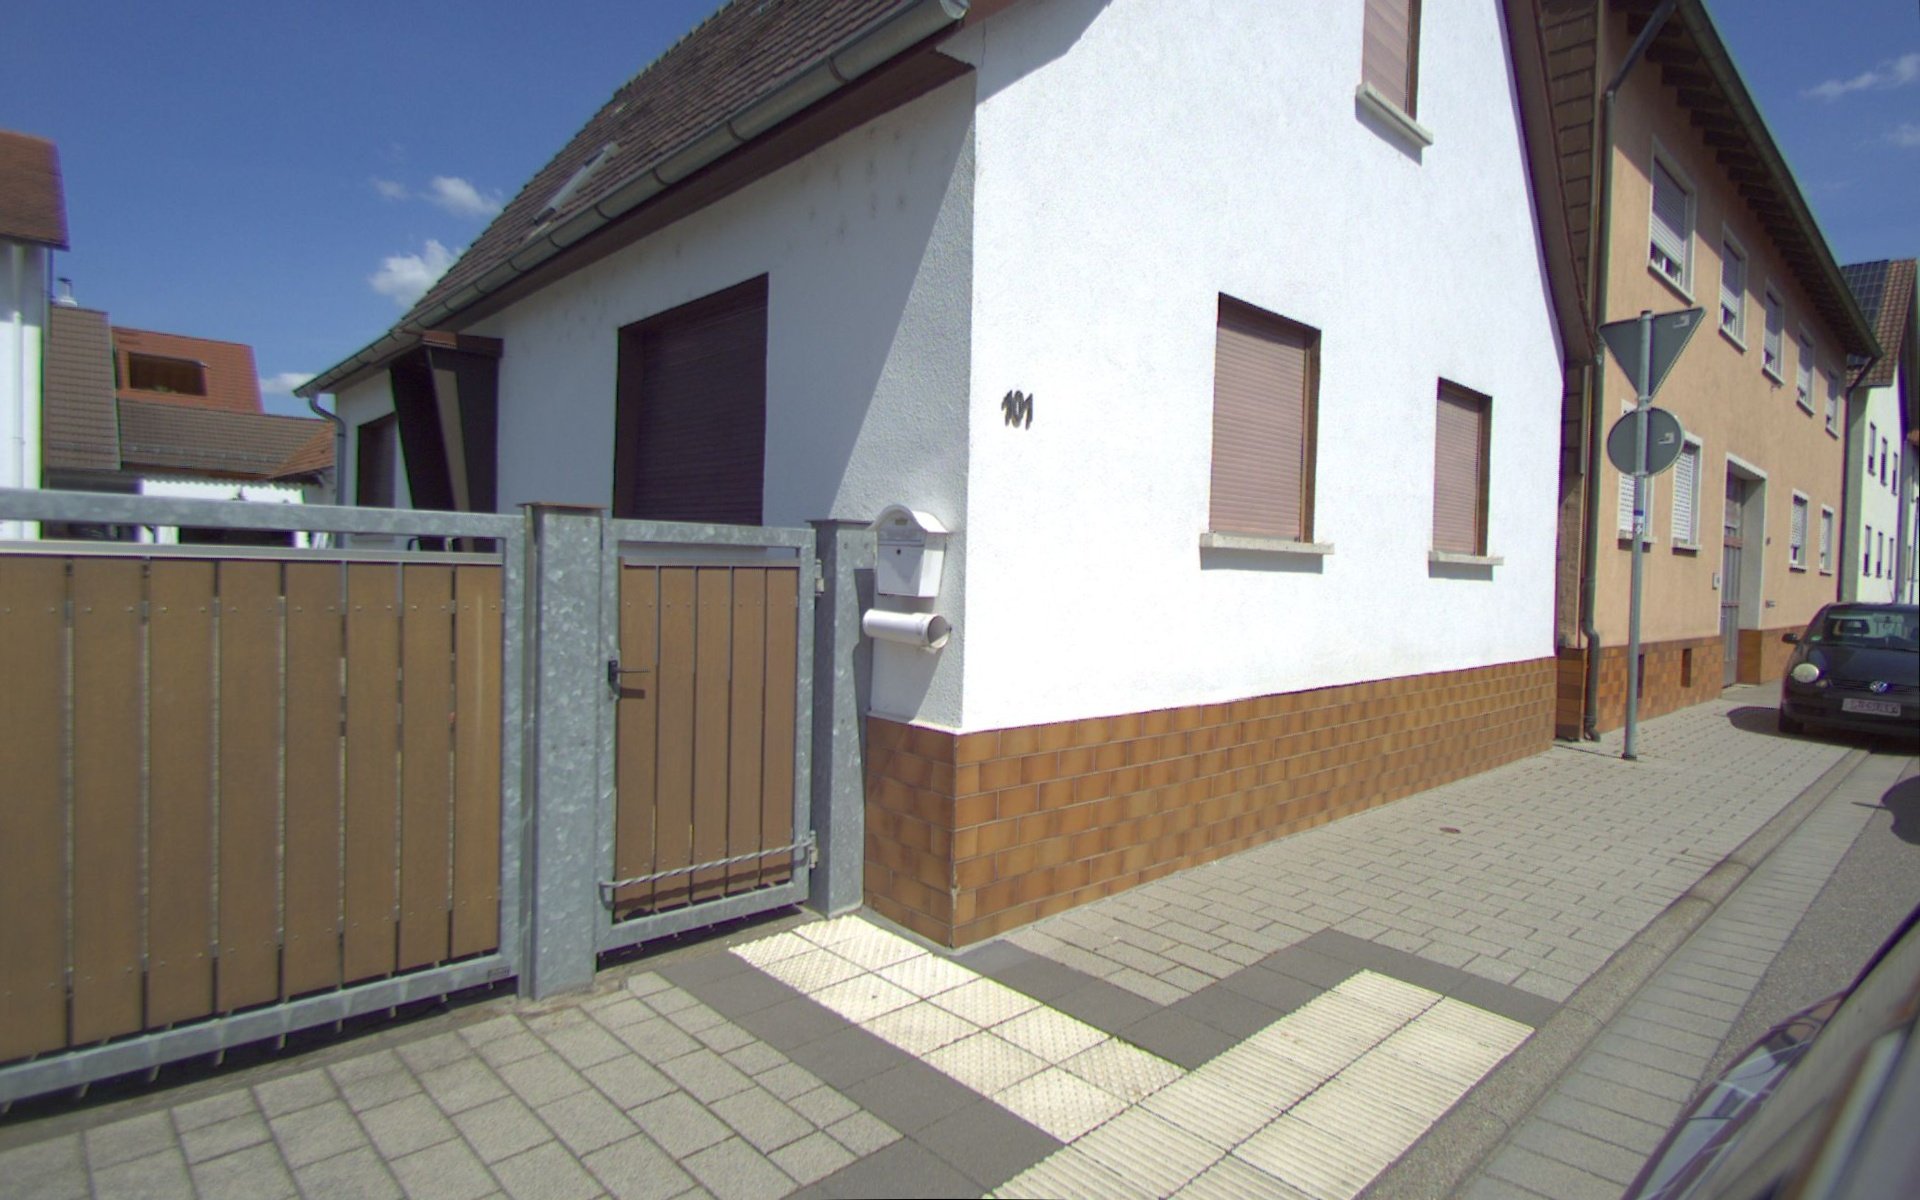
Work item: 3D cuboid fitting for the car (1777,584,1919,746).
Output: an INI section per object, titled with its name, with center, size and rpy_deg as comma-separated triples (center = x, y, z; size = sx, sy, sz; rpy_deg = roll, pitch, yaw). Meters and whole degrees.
[car]
center = 10.349, 0.643, 11.058
size = 3.568, 1.480, 1.688
rpy_deg = 0, 4, -44
